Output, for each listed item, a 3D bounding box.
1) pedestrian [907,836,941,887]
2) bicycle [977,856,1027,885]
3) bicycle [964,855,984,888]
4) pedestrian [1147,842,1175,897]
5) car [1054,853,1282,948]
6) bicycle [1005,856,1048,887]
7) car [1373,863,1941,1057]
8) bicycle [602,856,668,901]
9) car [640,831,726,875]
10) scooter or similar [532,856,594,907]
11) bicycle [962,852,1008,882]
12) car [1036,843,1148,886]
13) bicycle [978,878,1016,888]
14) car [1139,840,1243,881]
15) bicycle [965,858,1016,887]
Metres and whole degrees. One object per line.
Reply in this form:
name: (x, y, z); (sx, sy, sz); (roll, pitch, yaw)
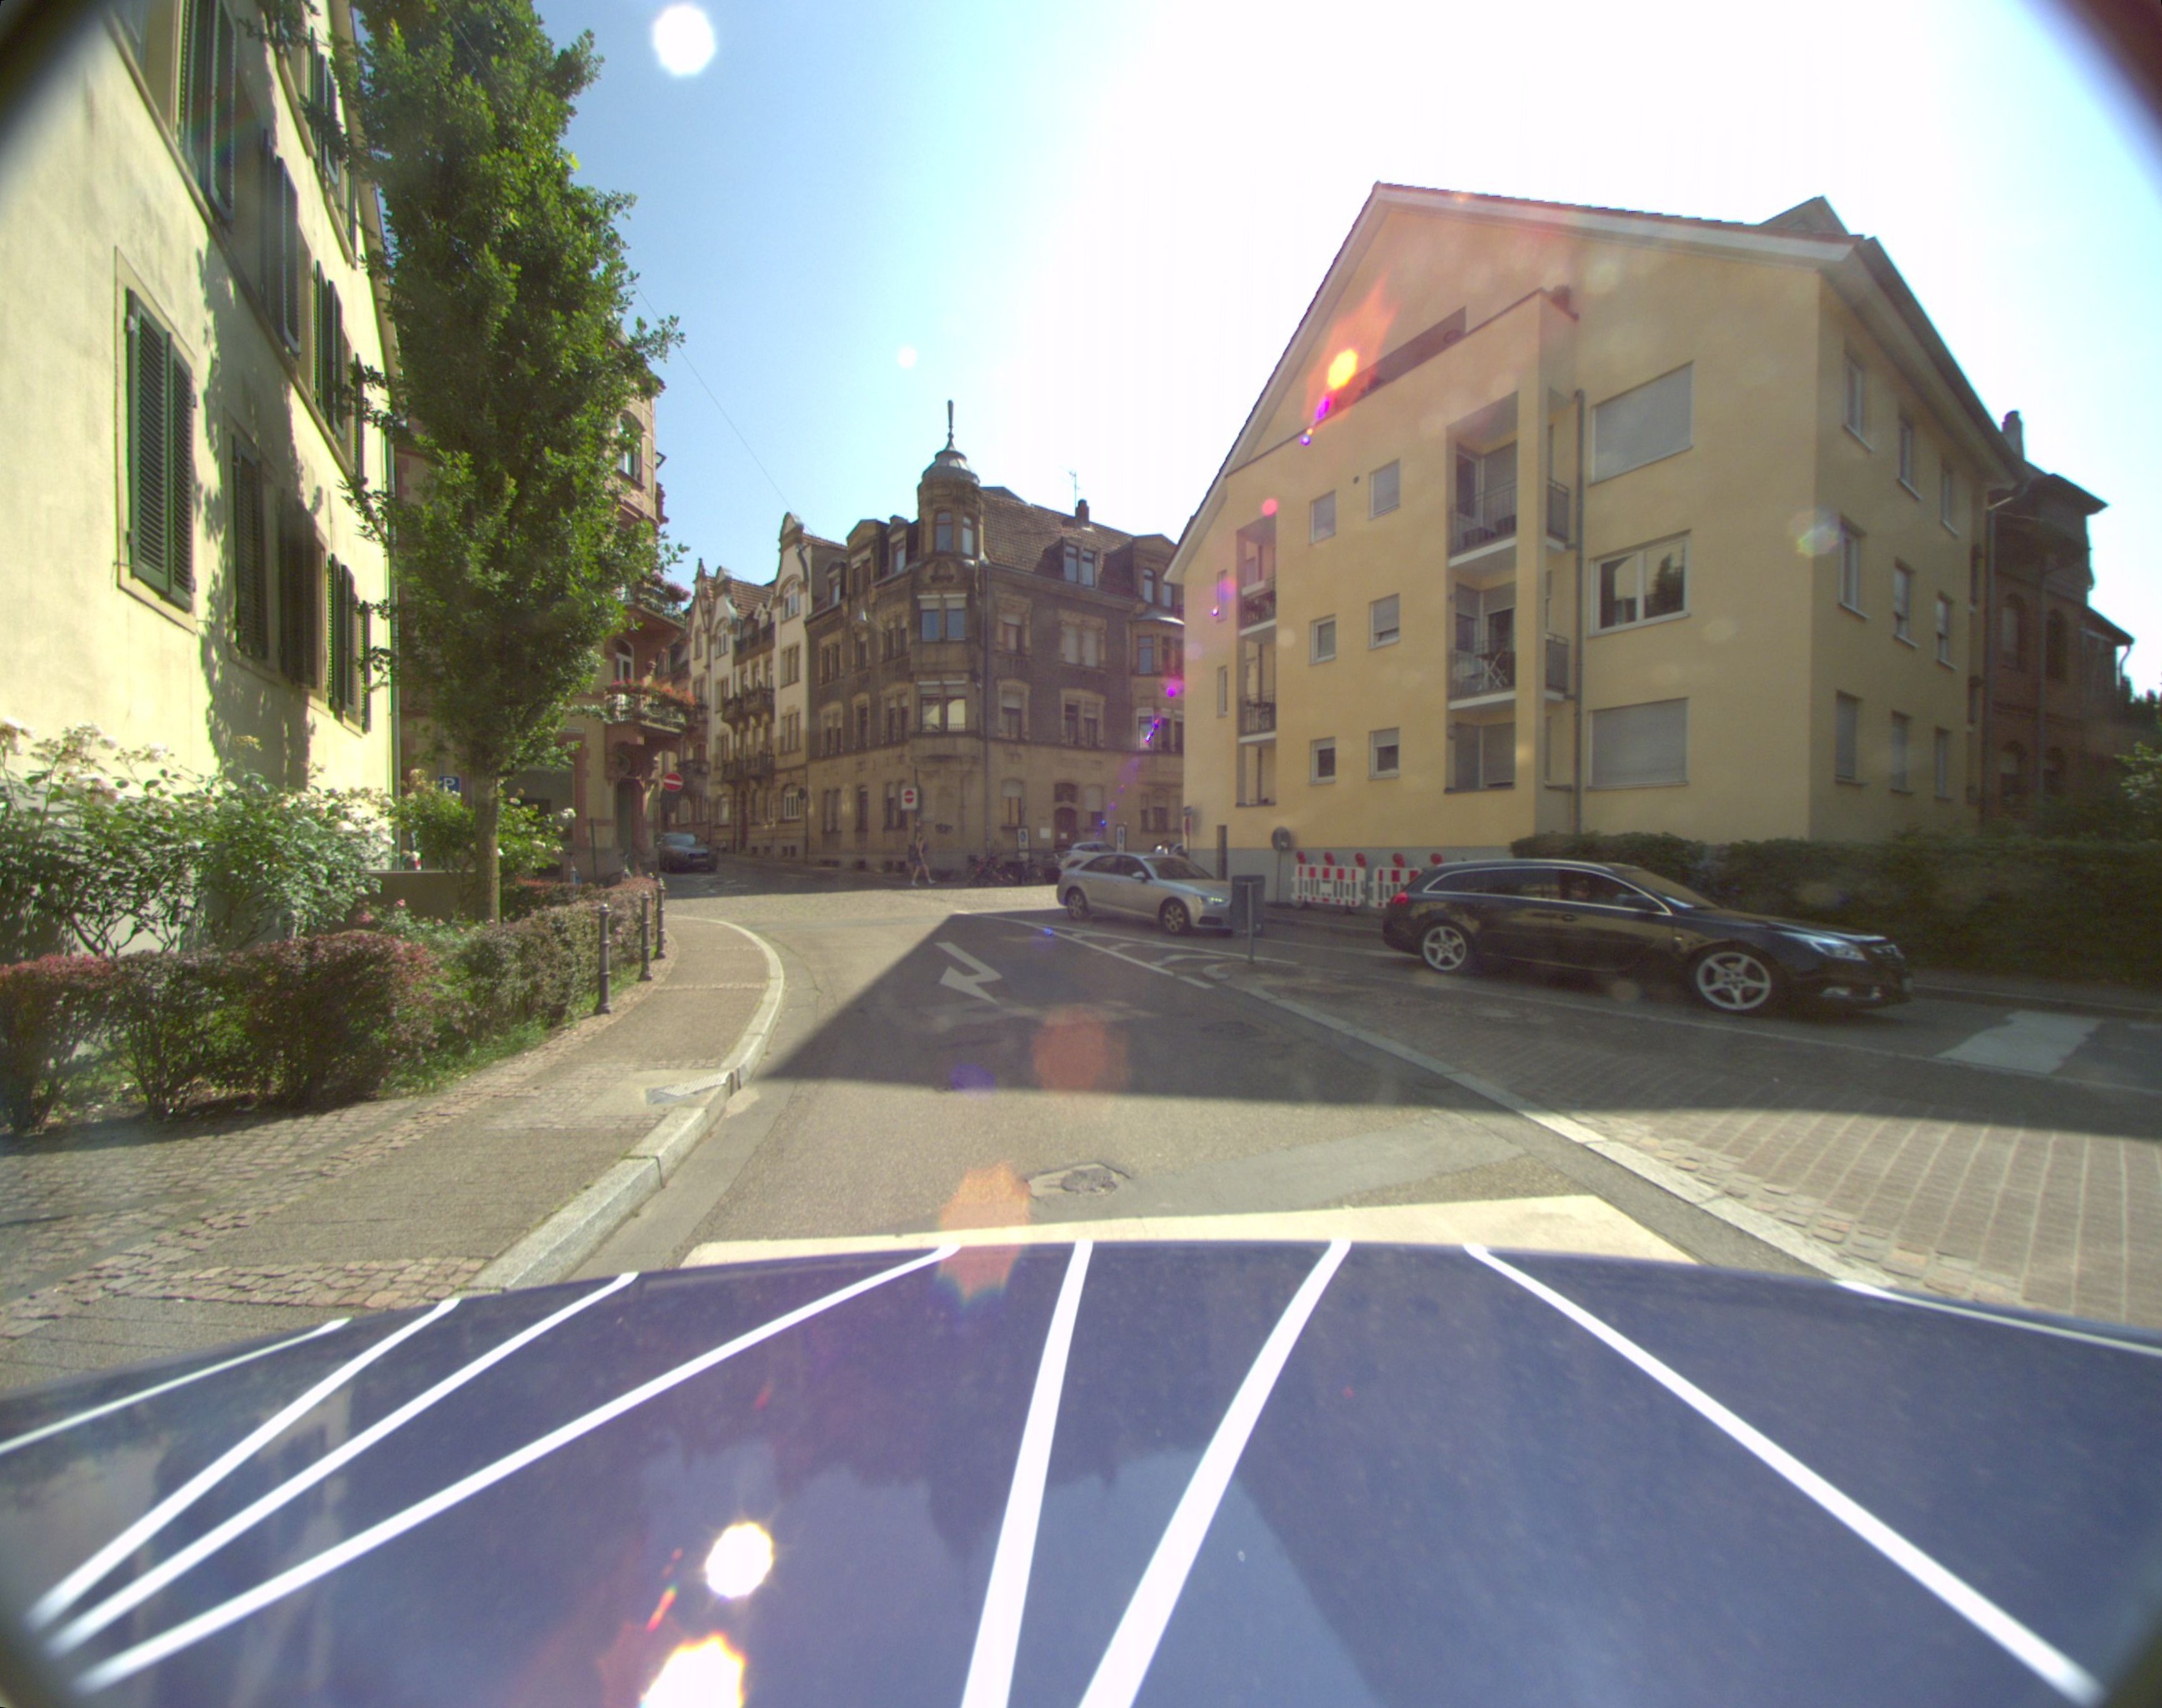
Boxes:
pedestrian: (-5.586, 0.266, 27.024); (0.982, 1.749, 0.621); (-1, 5, -35)
bicycle: (-2.853, 0.581, 27.262); (1.637, 1.084, 0.285); (2, 46, 45)
bicycle: (-3.757, 0.606, 26.567); (0.286, 1.080, 1.639); (-4, 2, -20)
pedestrian: (2.374, 0.439, 22.648); (0.658, 1.609, 0.491); (-1, 2, -29)
car: (1.489, 0.754, 14.629); (1.881, 1.484, 4.370); (-1, 1, -37)
bicycle: (-1.950, 0.621, 27.042); (1.638, 1.079, 0.286); (-2, -2, 28)
car: (5.900, 0.891, 8.460); (1.723, 1.453, 4.711); (2, 0, -37)
bicycle: (-12.049, 0.649, 20.527); (1.789, 1.140, 0.506); (1, 1, 19)
car: (-16.228, -0.113, 30.885); (4.246, 1.574, 1.866); (3, 5, 45)
scooter or similar: (-12.966, 0.666, 19.033); (0.441, 1.228, 1.193); (1, 2, 42)
bicycle: (-3.637, 0.492, 28.953); (1.645, 1.080, 0.494); (0, 5, -35)
car: (0.436, 0.341, 28.868); (3.936, 1.535, 1.847); (0, 1, -35)
bicycle: (-2.942, 1.027, 26.643); (1.079, 0.286, 1.122); (0, 1, -20)
car: (4.541, 0.231, 31.241); (4.007, 1.535, 1.848); (-2, 1, -34)
bicycle: (-3.215, 0.654, 26.921); (1.637, 1.084, 0.285); (2, 46, 45)
